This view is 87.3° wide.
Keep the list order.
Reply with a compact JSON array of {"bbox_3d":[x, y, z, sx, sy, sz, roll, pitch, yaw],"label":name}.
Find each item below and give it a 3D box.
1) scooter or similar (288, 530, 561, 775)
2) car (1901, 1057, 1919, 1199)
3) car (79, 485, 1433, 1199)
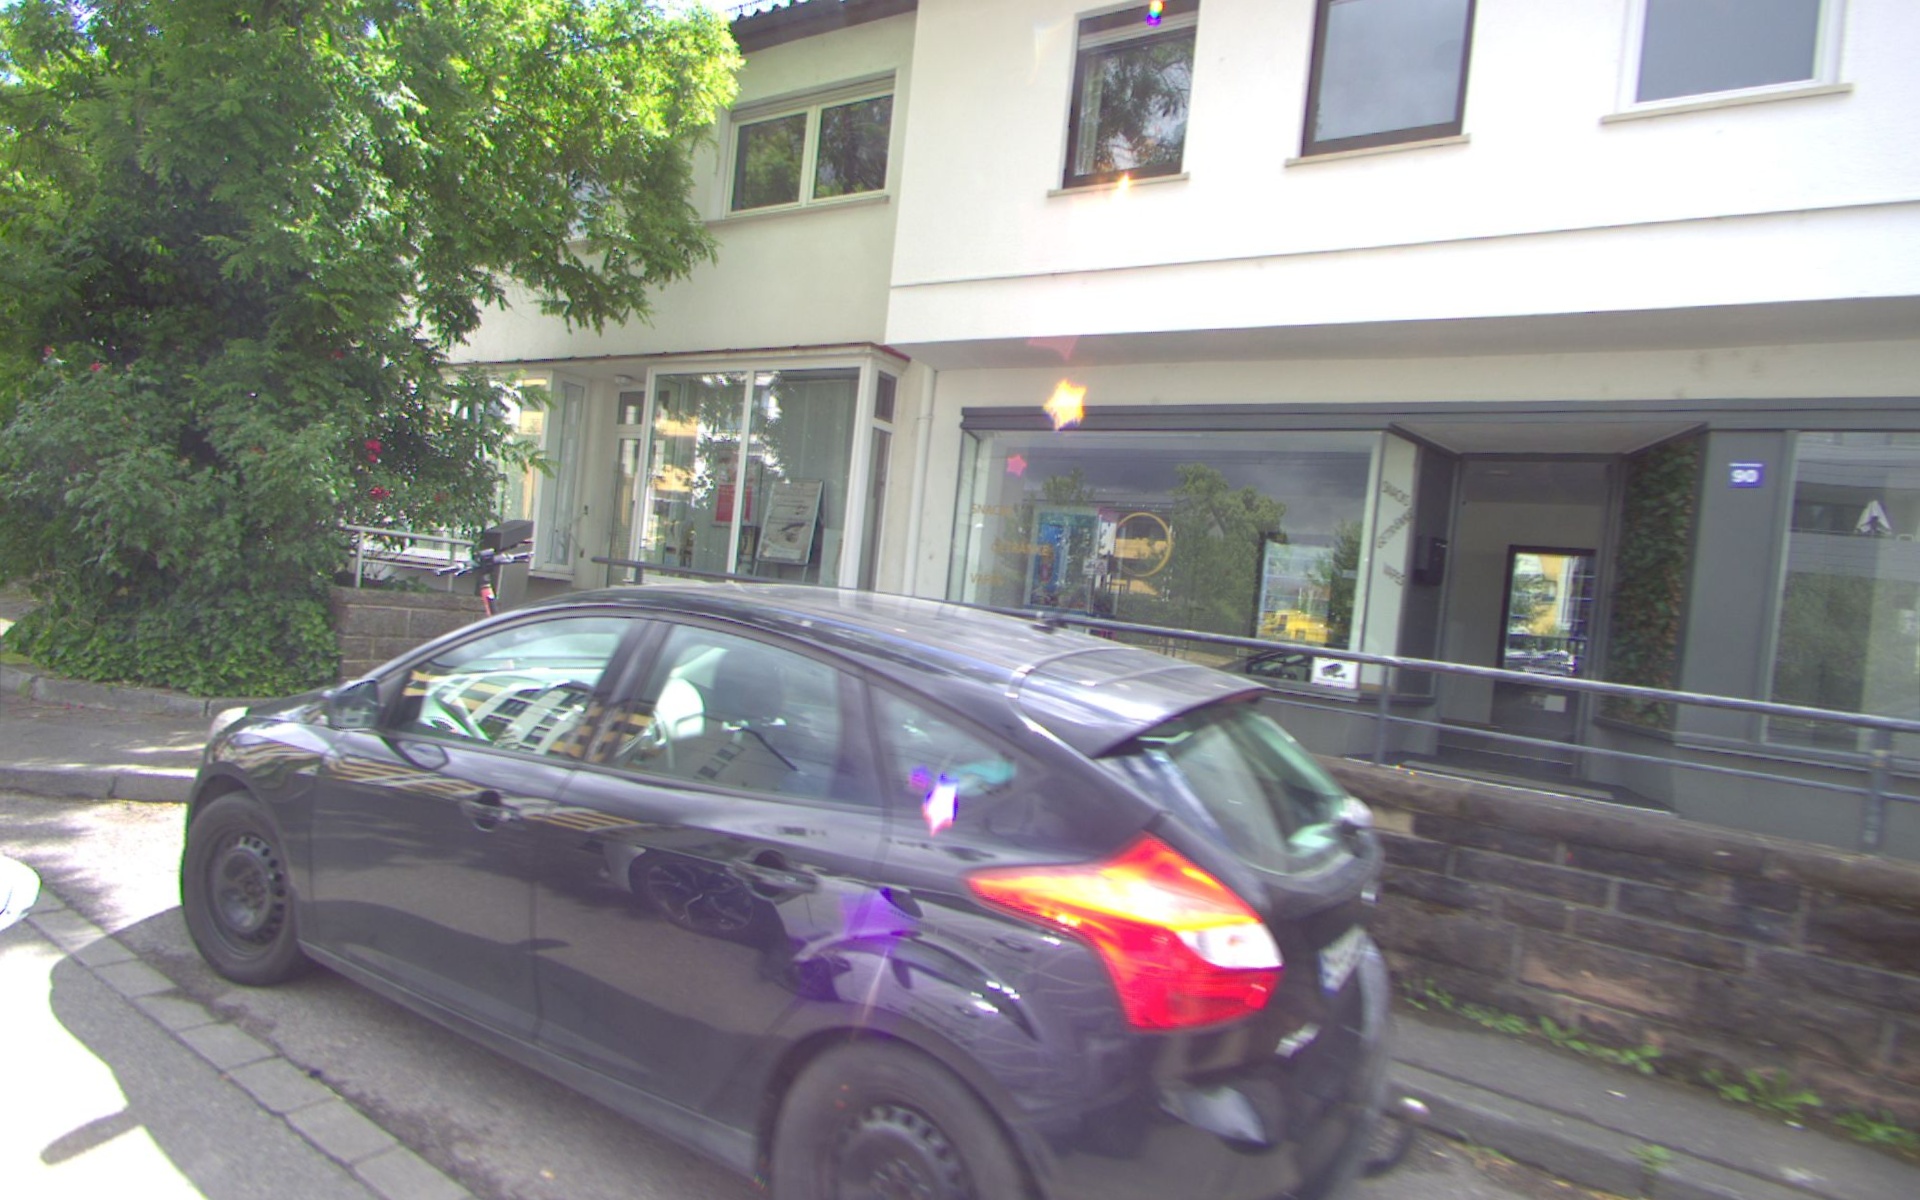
[{"bbox_3d":[-3.145,0.300,5.983,1.214,1.259,0.535,7,2,-4],"label":"scooter or similar"},{"bbox_3d":[3.802,0.977,0.115,4.993,1.811,2.016,7,1,33],"label":"car"},{"bbox_3d":[-0.878,0.599,3.352,4.171,1.525,1.836,7,1,31],"label":"car"}]
